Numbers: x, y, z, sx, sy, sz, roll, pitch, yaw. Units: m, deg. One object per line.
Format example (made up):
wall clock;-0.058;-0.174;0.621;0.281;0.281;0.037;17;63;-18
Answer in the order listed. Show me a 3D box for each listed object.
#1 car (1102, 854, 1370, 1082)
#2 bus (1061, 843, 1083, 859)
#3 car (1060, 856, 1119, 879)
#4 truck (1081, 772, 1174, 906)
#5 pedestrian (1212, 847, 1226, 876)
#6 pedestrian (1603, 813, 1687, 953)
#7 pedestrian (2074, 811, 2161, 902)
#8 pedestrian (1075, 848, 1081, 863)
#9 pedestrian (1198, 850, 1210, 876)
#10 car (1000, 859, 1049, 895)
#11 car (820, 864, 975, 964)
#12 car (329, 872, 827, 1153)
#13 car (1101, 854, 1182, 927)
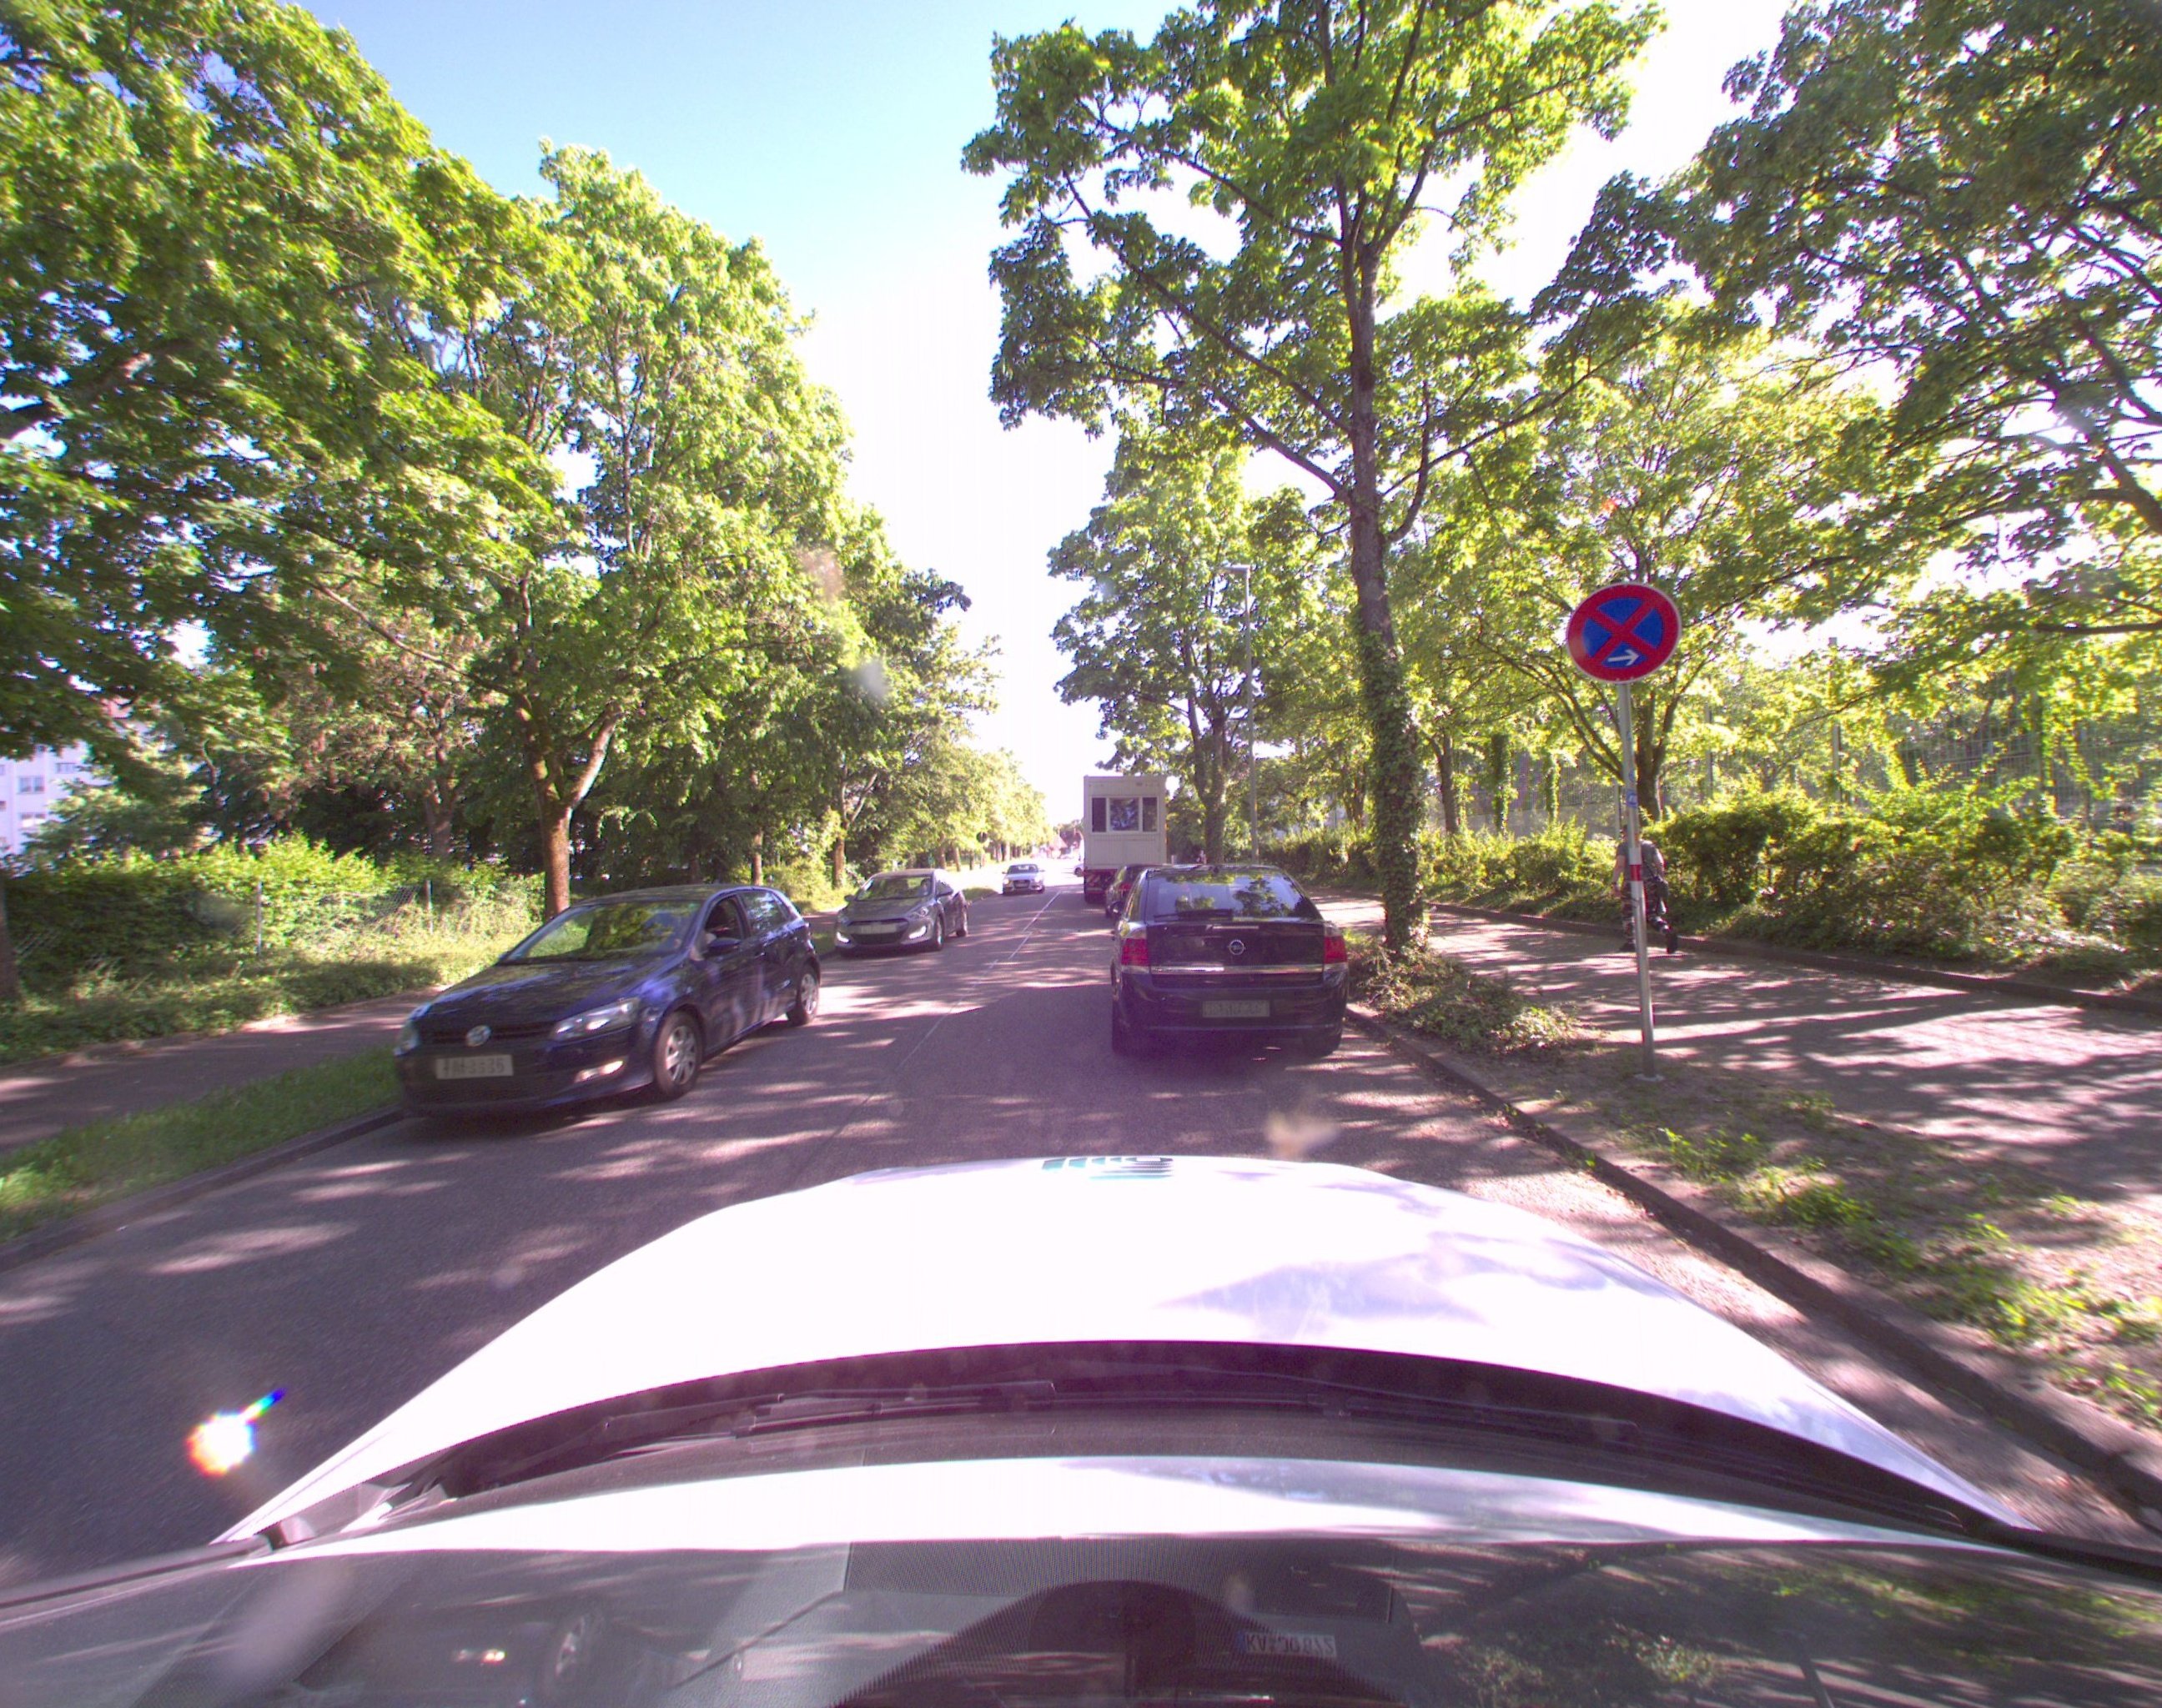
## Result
car;1.116;0.772;7.421;1.741;1.480;4.033;-1;-1;2
bus;-2.021;-0.614;184.510;4.048;3.349;9.808;-3;0;3
car;0.561;0.996;58.117;3.909;1.420;1.823;-4;0;43
truck;1.416;-0.460;29.590;2.764;3.996;10.347;-1;0;0
pedestrian;8.886;0.466;52.467;0.696;1.812;0.699;-3;0;-3
pedestrian;6.775;0.340;9.807;0.568;1.608;0.673;-2;0;10
pedestrian;14.562;0.035;11.453;0.555;1.240;0.548;0;0;21
pedestrian;-0.409;0.223;110.804;0.749;2.113;0.800;0;0;3
pedestrian;7.941;0.593;52.455;0.597;1.611;0.599;-3;0;-3
car;-2.561;1.037;37.760;1.780;1.416;4.106;-3;0;2
car;-3.274;1.004;15.441;1.749;1.454;4.245;-3;0;2
car;-3.474;0.952;6.526;1.595;1.426;3.652;-3;0;1
car;1.393;0.784;19.381;1.633;1.420;4.003;-4;0;3
